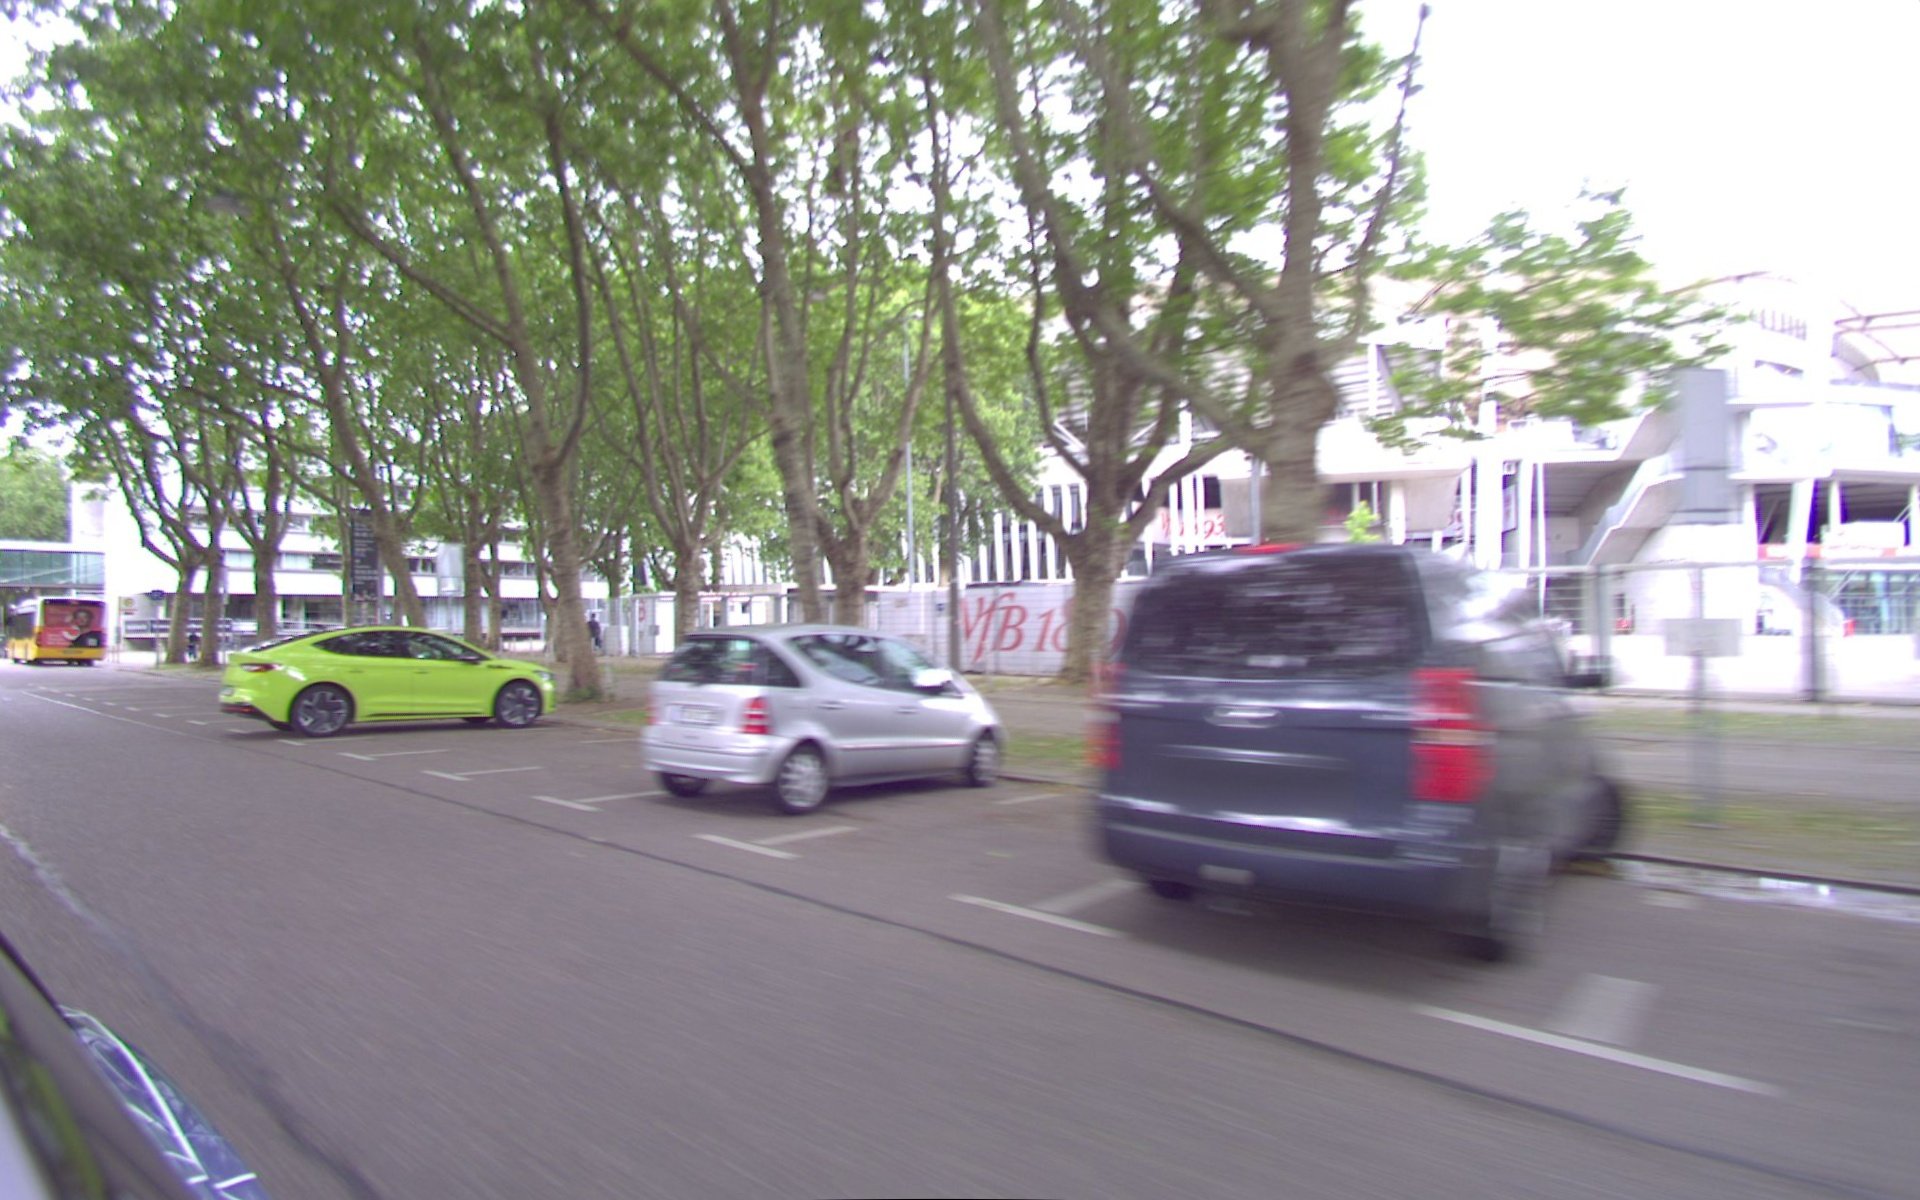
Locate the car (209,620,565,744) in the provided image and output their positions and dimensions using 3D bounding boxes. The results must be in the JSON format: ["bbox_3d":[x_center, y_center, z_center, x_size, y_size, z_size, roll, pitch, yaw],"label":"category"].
[{"bbox_3d":[-8.643,1.138,15.584,1.758,1.630,4.466,-2,-2,43],"label":"car"}]

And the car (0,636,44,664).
[{"bbox_3d":[-57.094,3.024,61.262,4.383,1.578,1.736,-2,-6,40],"label":"car"}]

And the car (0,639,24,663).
[{"bbox_3d":[-63.518,3.328,67.005,4.007,1.526,1.735,-2,-6,41],"label":"car"}]

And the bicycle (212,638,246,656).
[{"bbox_3d":[-52.165,3.342,72.236,0.568,1.196,1.894,-2,-1,38],"label":"bicycle"}]

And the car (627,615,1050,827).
[{"bbox_3d":[-0.930,1.026,9.765,1.754,1.581,4.067,-2,-4,36],"label":"car"}]

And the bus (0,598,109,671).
[{"bbox_3d":[-44.283,1.709,49.315,12.367,3.179,2.622,-2,-5,43],"label":"bus"}]

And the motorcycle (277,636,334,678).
[{"bbox_3d":[-19.816,1.716,30.699,0.566,1.167,2.080,-1,-1,-6],"label":"motorcycle"}]

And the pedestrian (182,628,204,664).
[{"bbox_3d":[-35.308,2.098,46.589,0.912,1.601,0.655,-2,-1,41],"label":"pedestrian"}]

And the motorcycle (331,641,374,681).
[{"bbox_3d":[-18.735,1.867,31.207,2.077,1.167,0.567,-2,-1,43],"label":"motorcycle"}]

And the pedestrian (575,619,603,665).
[{"bbox_3d":[-14.736,1.649,40.159,0.874,1.767,0.697,-2,-1,41],"label":"pedestrian"}]

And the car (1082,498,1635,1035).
[{"bbox_3d":[2.782,0.704,6.189,2.014,1.939,4.719,-2,-3,36],"label":"car"}]
